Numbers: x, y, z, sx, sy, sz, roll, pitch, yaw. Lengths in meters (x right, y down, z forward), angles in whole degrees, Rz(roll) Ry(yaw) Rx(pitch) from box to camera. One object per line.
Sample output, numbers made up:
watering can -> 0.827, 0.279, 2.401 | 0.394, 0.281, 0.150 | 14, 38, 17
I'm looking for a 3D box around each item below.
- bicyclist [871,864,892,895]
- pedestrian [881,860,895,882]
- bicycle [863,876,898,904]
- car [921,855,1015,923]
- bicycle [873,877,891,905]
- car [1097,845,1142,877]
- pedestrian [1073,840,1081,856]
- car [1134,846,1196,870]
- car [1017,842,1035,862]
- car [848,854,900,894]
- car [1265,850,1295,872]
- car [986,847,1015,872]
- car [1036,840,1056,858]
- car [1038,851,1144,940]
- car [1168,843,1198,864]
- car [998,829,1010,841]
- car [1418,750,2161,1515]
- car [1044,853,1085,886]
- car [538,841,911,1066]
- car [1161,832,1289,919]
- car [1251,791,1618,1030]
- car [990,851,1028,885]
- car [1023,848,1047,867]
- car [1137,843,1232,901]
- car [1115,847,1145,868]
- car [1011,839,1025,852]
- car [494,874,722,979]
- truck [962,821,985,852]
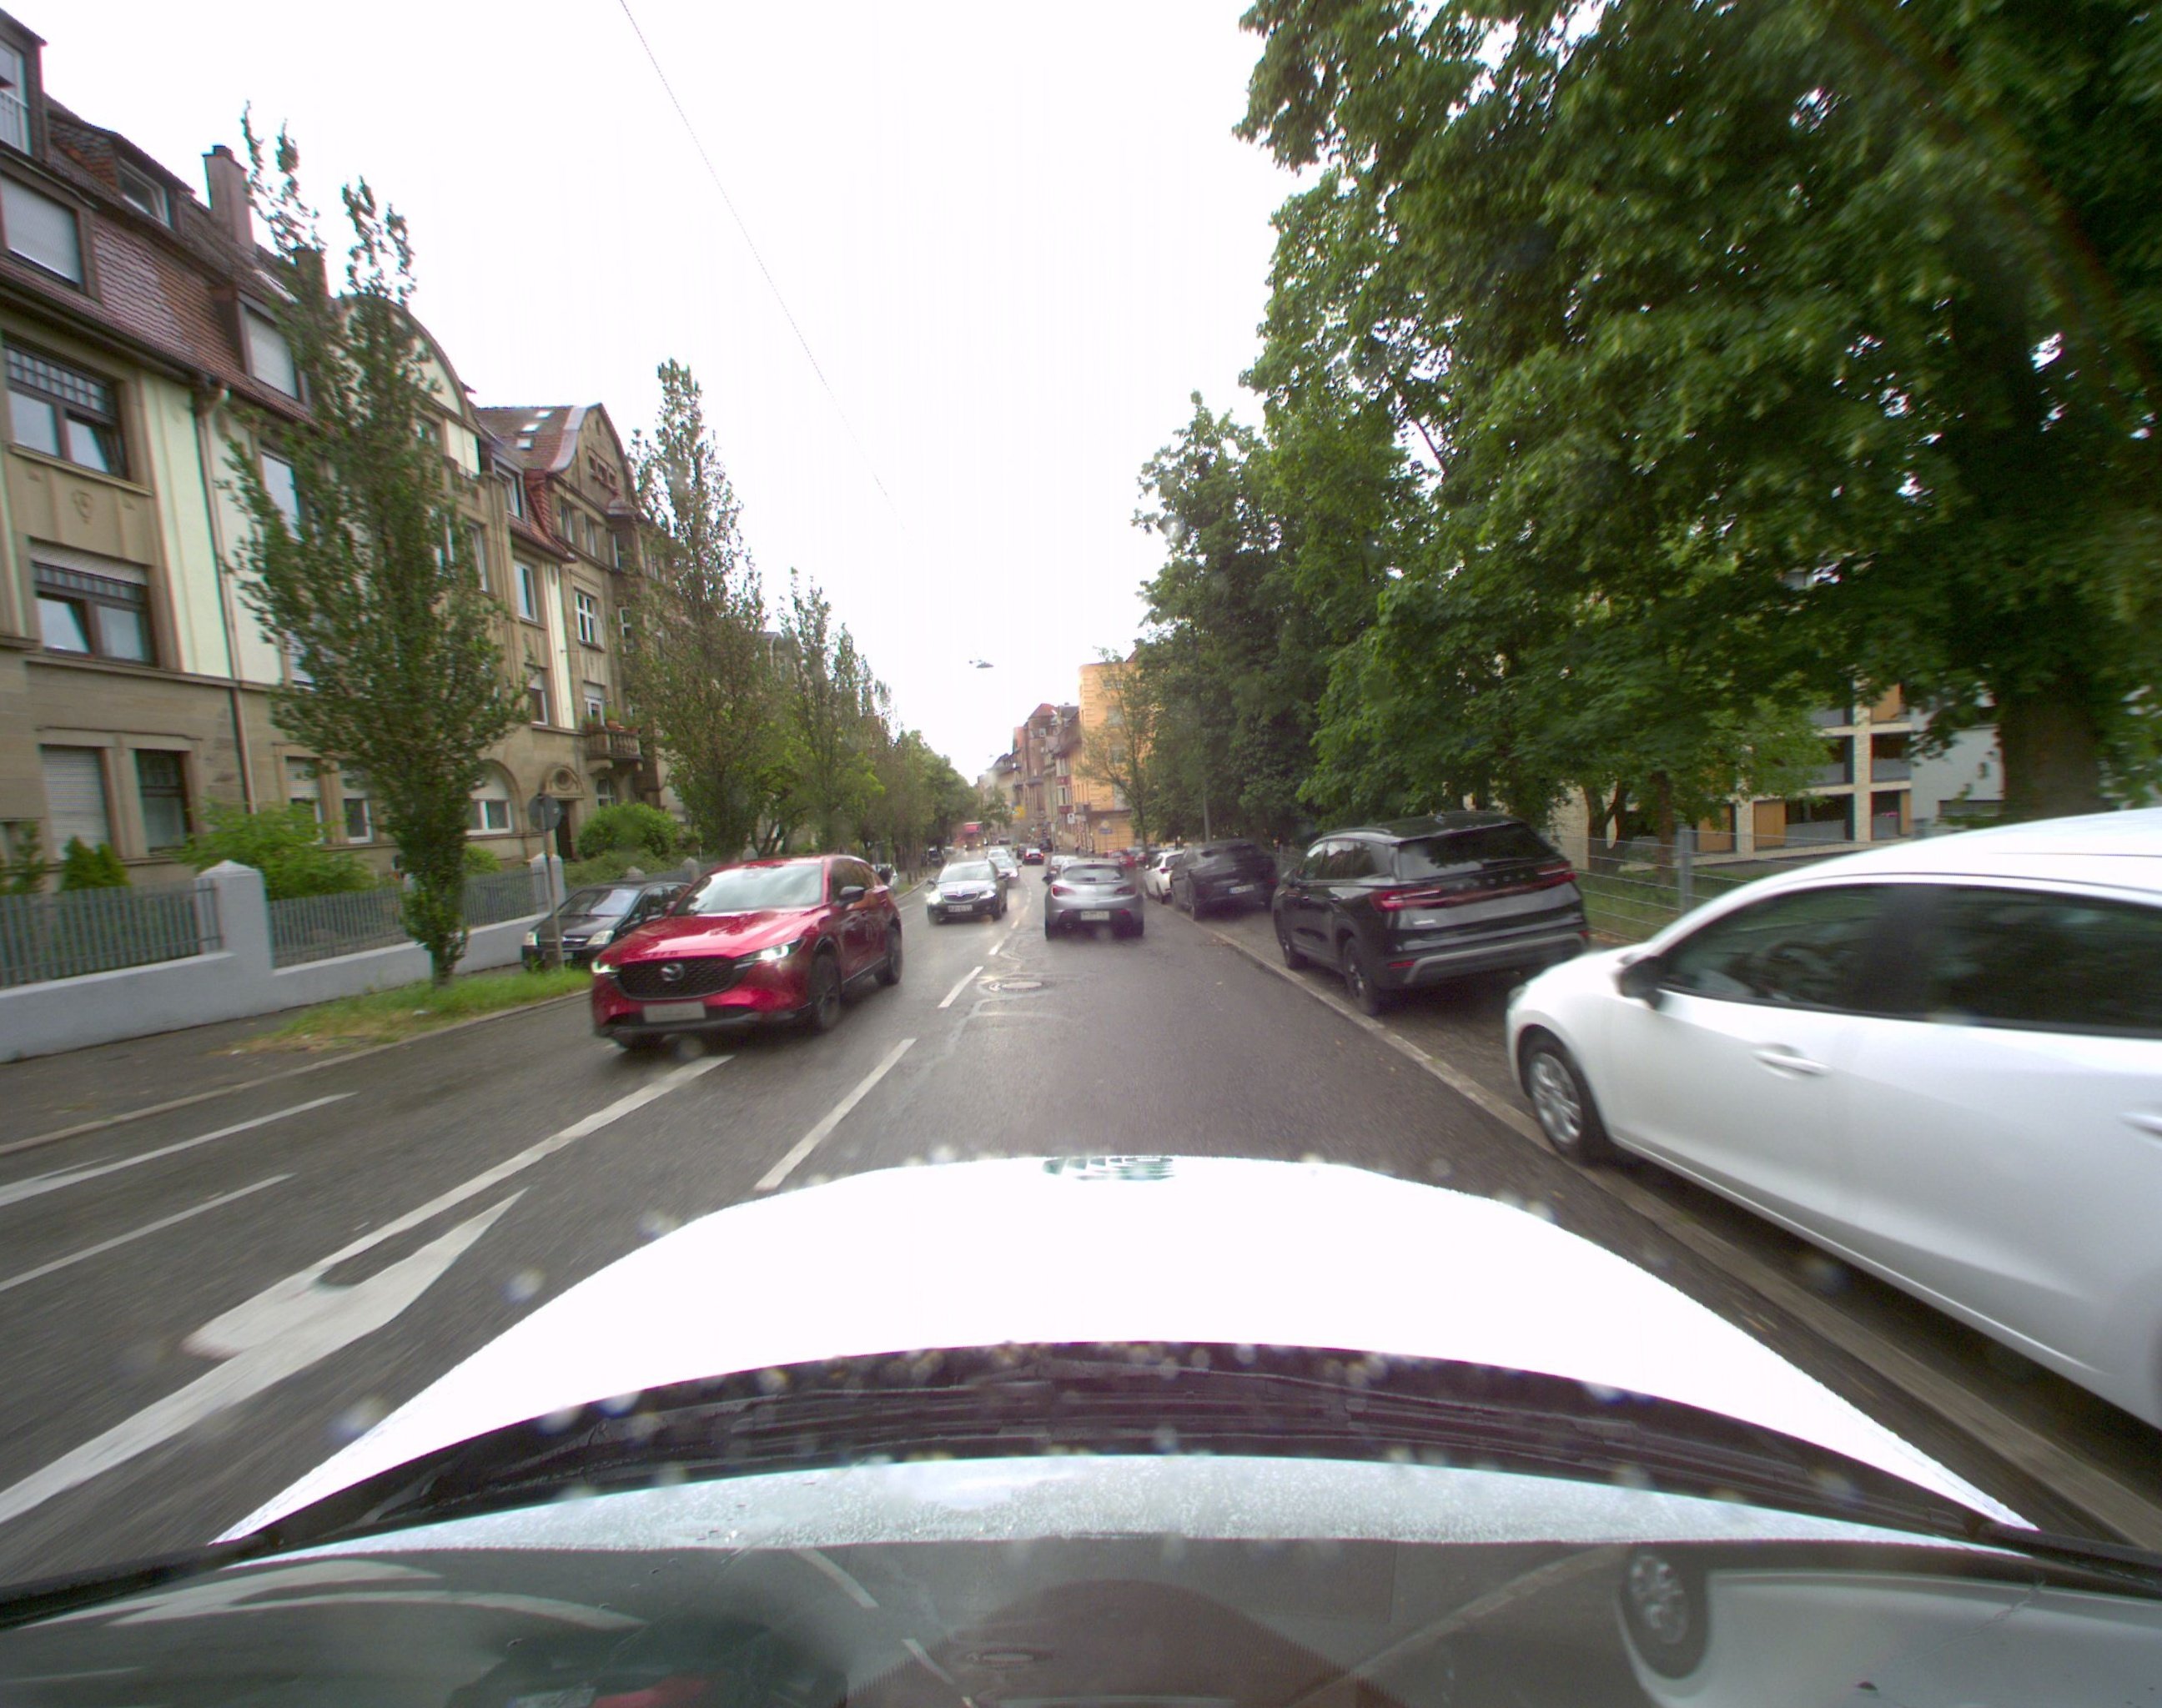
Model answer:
bicyclist -> -7.879, 1.004, 32.232 | 0.771, 1.169, 1.077 | -1, 0, -13
pedestrian -> -13.059, 1.150, 55.082 | 0.705, 1.343, 0.612 | -6, 0, -3
bicycle -> -9.384, 1.690, 38.153 | 1.462, 1.120, 0.379 | -6, 1, -10
car -> -2.810, 0.816, 21.139 | 1.732, 1.473, 4.282 | -3, 0, 1
bicycle -> -7.869, 1.443, 32.231 | 0.653, 0.982, 2.145 | -1, 0, -13
car -> 2.015, 0.385, 43.847 | 1.812, 1.467, 3.994 | -7, 0, -4
pedestrian -> -0.392, -0.605, 78.066 | 0.611, 1.496, 0.552 | -3, 3, -3
car -> 5.550, 0.290, 53.836 | 3.769, 1.430, 1.777 | 1, -1, -7
car -> -5.556, -0.187, 81.839 | 1.638, 1.688, 3.710 | -2, 4, -6
car -> -10.089, 0.937, 39.936 | 1.786, 1.651, 4.186 | -6, 0, -7
car -> 15.374, 0.513, 62.893 | 1.761, 1.429, 3.806 | -1, 2, 21
car -> -5.925, 0.368, 60.114 | 1.818, 1.650, 3.996 | -4, 0, -3
car -> -4.117, -0.570, 94.735 | 1.991, 1.689, 3.993 | -8, 1, -5
car -> 0.208, 0.721, 16.402 | 1.808, 1.429, 4.001 | -2, 1, 1
car -> 7.837, -0.051, 62.376 | 1.763, 1.429, 3.801 | -1, 2, 14
car -> -13.366, -3.339, 140.514 | 1.782, 1.855, 3.987 | -2, -1, -9
car -> 2.991, 0.500, 2.802 | 1.810, 1.495, 3.998 | -8, -1, -1
car -> -0.849, 0.728, 38.890 | 1.773, 1.430, 3.780 | -1, -1, -4
car -> -3.196, 0.761, 8.423 | 1.840, 1.584, 4.278 | -5, 0, 0
car -> 3.175, 0.470, 18.945 | 1.970, 1.609, 4.482 | -5, -1, -1
car -> 3.210, 0.424, 8.641 | 1.814, 1.683, 4.805 | -5, 0, 2
car -> -3.409, 0.660, 39.069 | 1.658, 1.448, 3.987 | -3, -1, -4
car -> -3.730, 0.253, 65.915 | 1.765, 1.415, 3.709 | -1, 0, -6
car -> 2.997, 0.530, 24.549 | 1.972, 1.452, 4.107 | -5, -1, -4
car -> 3.693, 0.220, 61.000 | 1.765, 1.429, 3.797 | -1, 2, 10
car -> -7.986, -1.114, 103.332 | 1.638, 1.536, 3.709 | -3, 0, -6
car -> -8.608, 1.228, 15.296 | 1.808, 1.612, 4.002 | -1, -1, 2
truck -> -16.112, -2.693, 122.186 | 2.788, 4.131, 10.824 | -6, 3, -8
